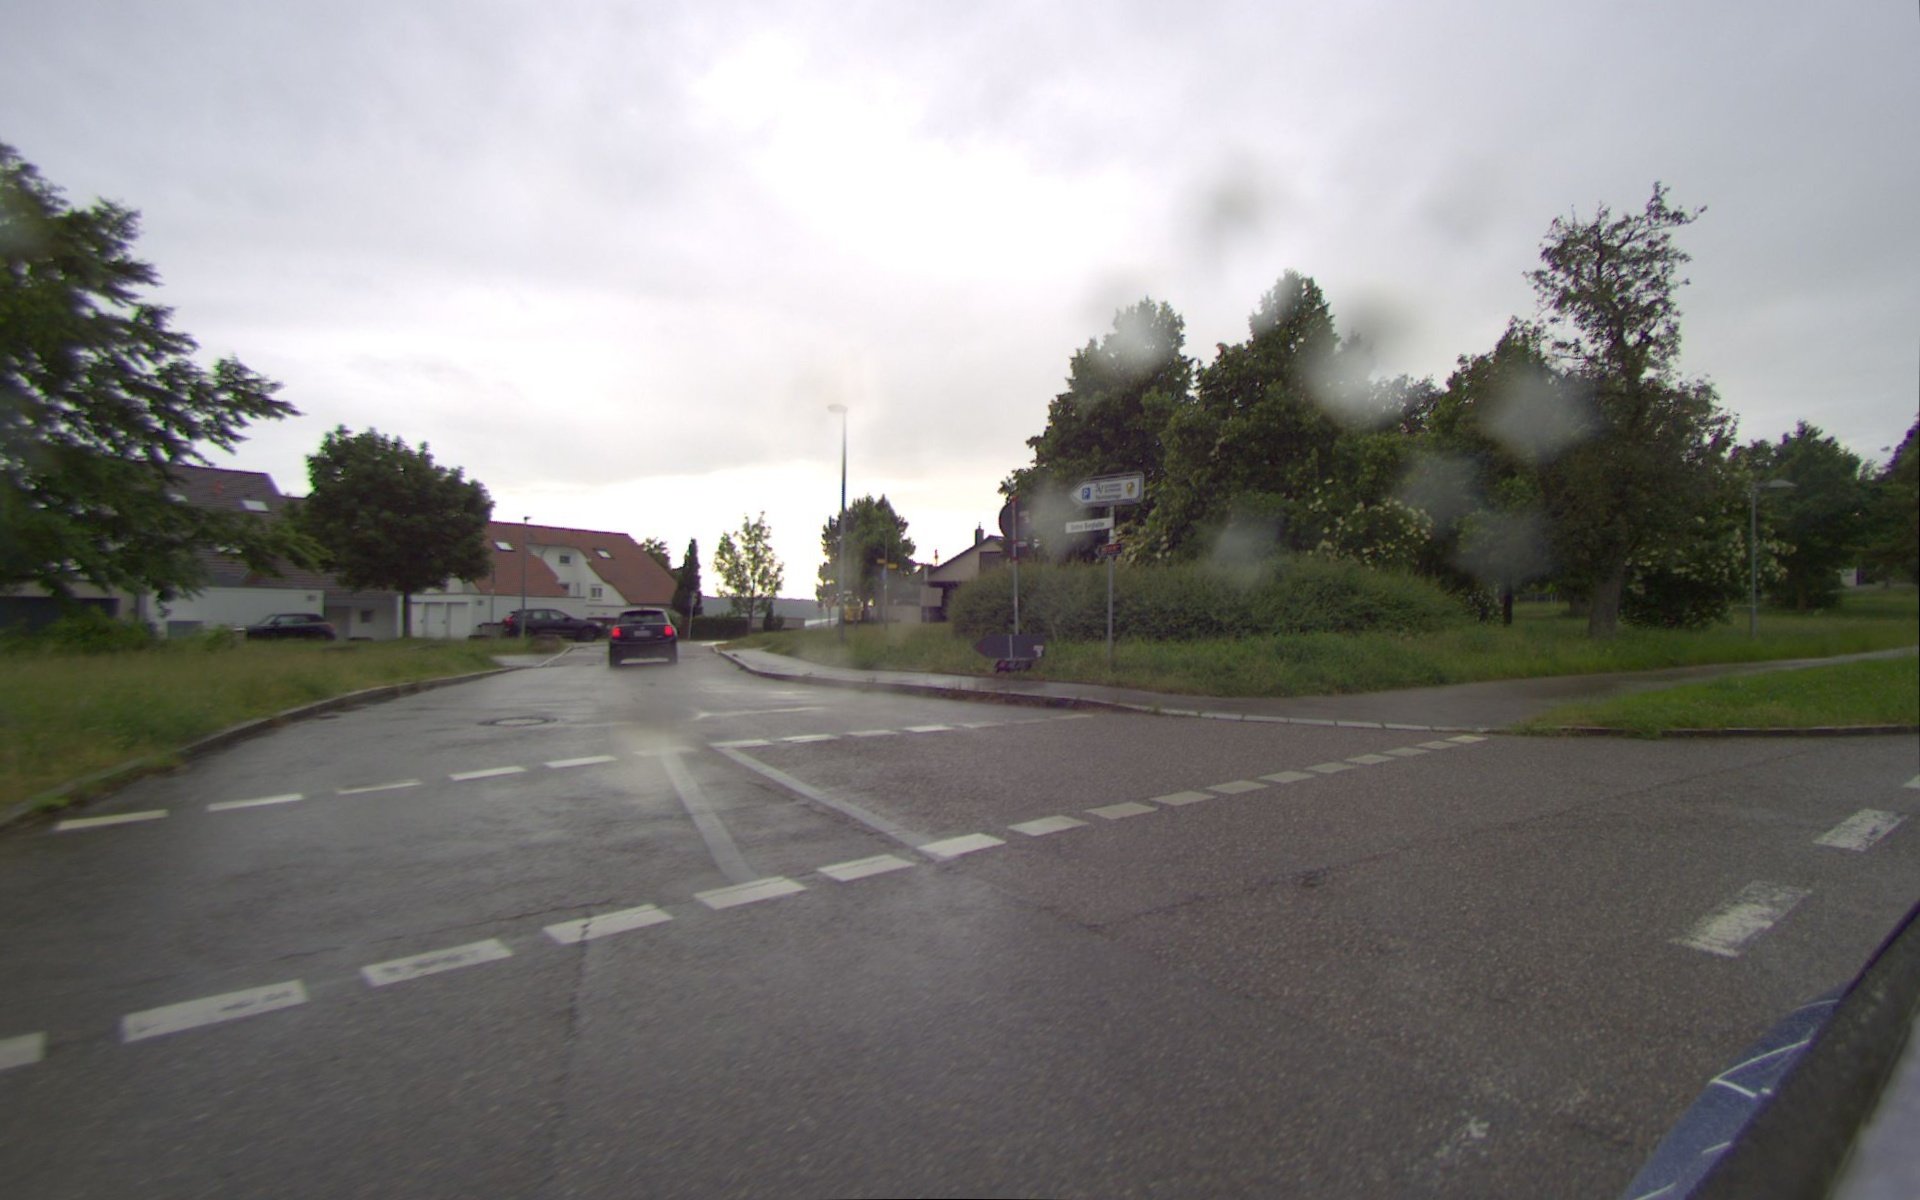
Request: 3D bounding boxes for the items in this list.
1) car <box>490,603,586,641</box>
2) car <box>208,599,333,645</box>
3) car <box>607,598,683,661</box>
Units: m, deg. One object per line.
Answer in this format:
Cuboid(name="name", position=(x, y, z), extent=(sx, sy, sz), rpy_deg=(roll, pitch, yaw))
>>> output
Cuboid(name="car", position=(-19.891, 0.996, 47.720), extent=(3.921, 1.742, 1.802), rpy_deg=(0, -1, -32))
Cuboid(name="car", position=(-27.936, 0.843, 41.074), extent=(1.992, 1.772, 3.857), rpy_deg=(-1, -1, 41))
Cuboid(name="car", position=(-8.265, 0.726, 26.528), extent=(1.777, 1.523, 3.618), rpy_deg=(0, -1, -18))
